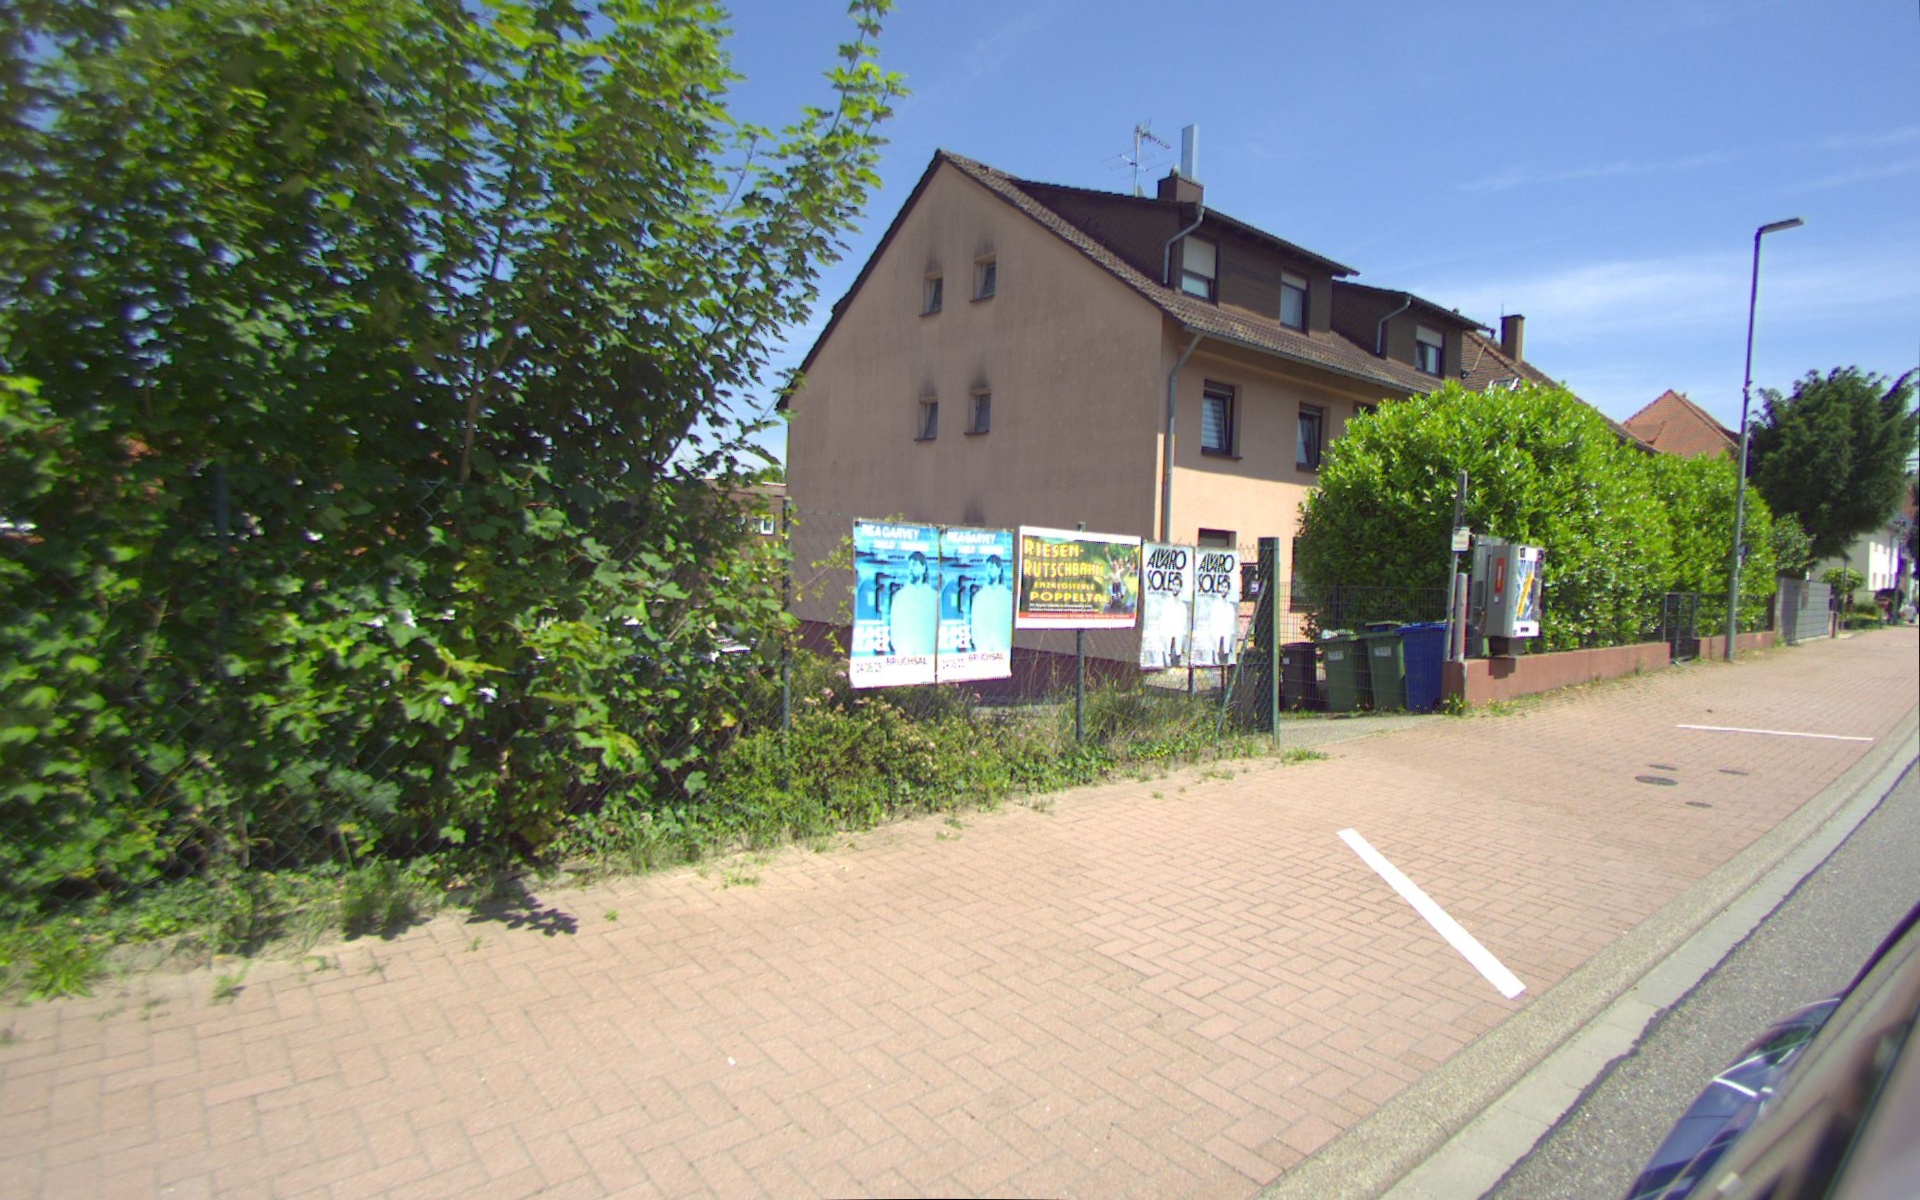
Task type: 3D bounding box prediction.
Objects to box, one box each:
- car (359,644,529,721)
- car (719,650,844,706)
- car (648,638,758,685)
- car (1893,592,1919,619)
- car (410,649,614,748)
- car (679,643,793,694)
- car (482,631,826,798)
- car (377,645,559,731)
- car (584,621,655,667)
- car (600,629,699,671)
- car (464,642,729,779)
[{"bbox_3d":[-12.177,1.915,23.975,3.324,1.492,1.325,-2,-2,-41],"label":"car"},{"bbox_3d":[-5.577,2.399,31.744,3.467,1.459,1.749,-1,1,-35],"label":"car"},{"bbox_3d":[-9.251,2.179,36.528,3.469,1.459,1.748,-1,1,-37],"label":"car"},{"bbox_3d":[58.163,0.328,61.700,4.360,1.549,1.507,0,1,-42],"label":"car"},{"bbox_3d":[-8.406,1.798,19.088,3.235,1.492,1.325,-2,-2,-41],"label":"car"},{"bbox_3d":[-7.695,2.321,34.861,3.467,1.459,1.749,-1,1,-35],"label":"car"},{"bbox_3d":[-3.517,1.265,11.929,3.509,1.492,1.493,-2,-5,-41],"label":"car"},{"bbox_3d":[-10.446,1.833,21.585,3.235,1.492,1.325,-2,-2,-41],"label":"car"},{"bbox_3d":[-14.739,1.860,43.670,1.684,1.852,3.996,0,-2,-38],"label":"car"},{"bbox_3d":[-12.356,1.969,40.320,3.469,1.459,1.551,-1,1,-37],"label":"car"},{"bbox_3d":[-5.045,1.462,14.132,3.228,1.492,1.327,-3,-2,-32],"label":"car"}]
